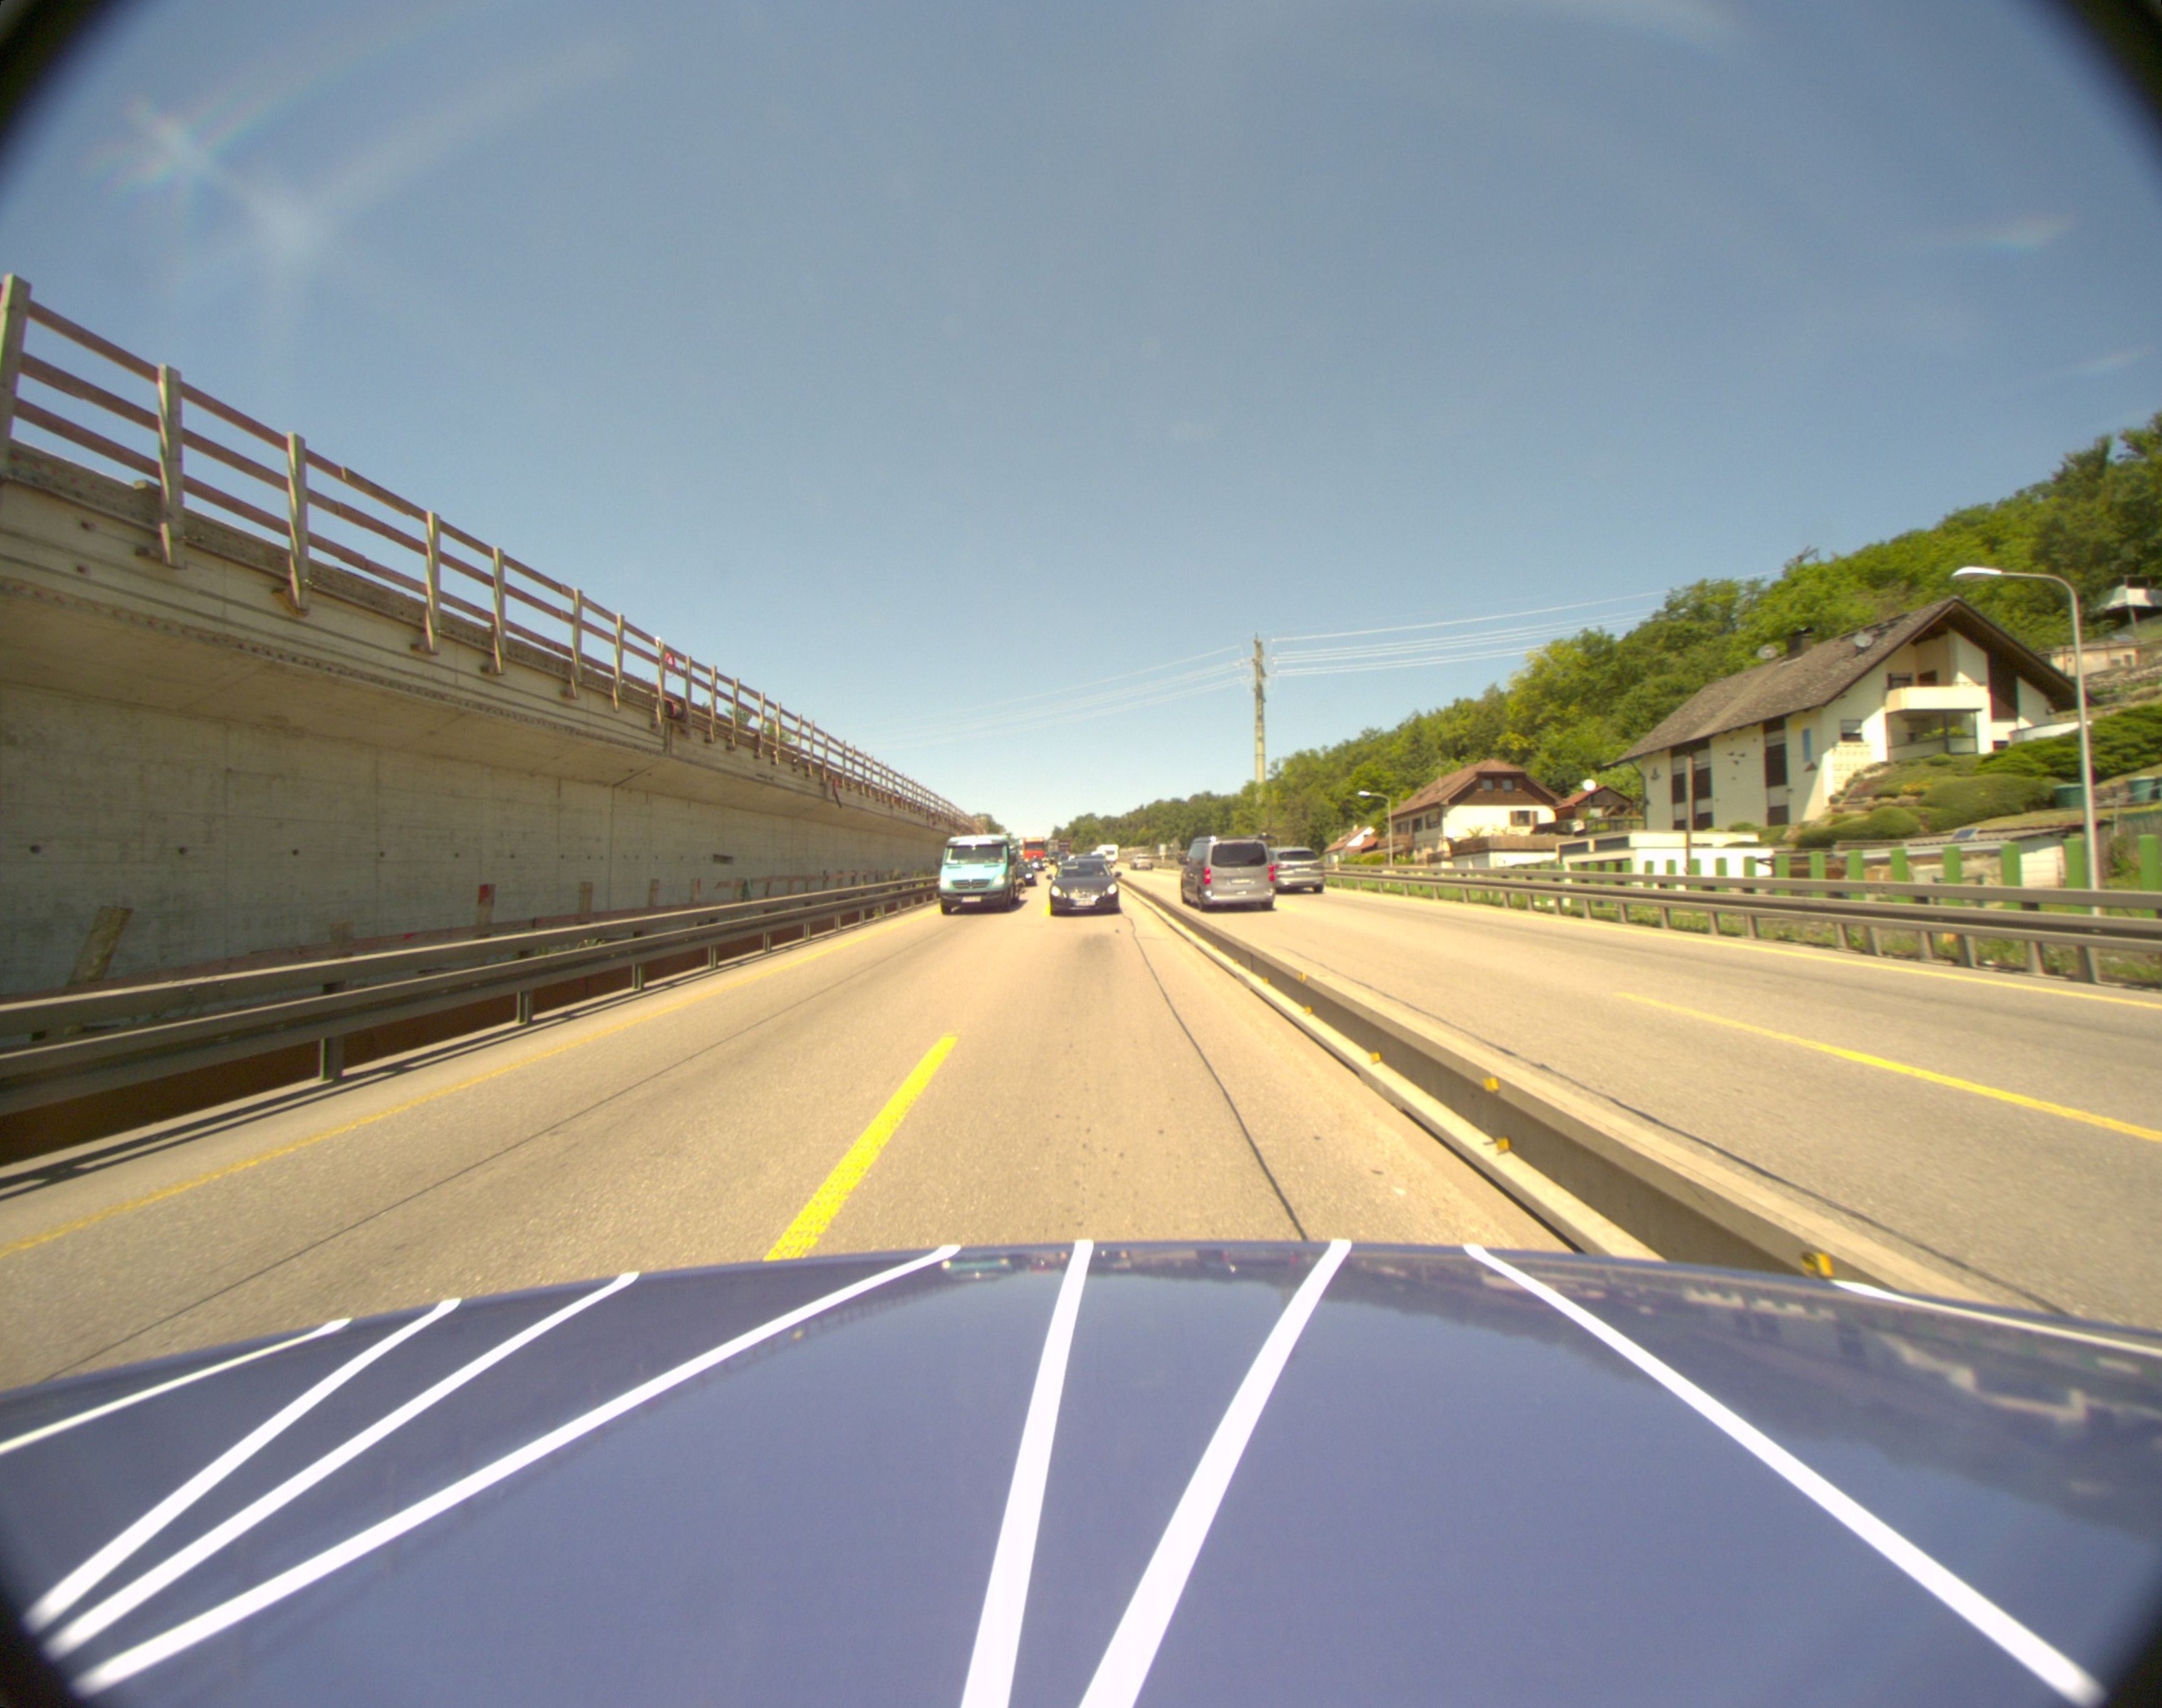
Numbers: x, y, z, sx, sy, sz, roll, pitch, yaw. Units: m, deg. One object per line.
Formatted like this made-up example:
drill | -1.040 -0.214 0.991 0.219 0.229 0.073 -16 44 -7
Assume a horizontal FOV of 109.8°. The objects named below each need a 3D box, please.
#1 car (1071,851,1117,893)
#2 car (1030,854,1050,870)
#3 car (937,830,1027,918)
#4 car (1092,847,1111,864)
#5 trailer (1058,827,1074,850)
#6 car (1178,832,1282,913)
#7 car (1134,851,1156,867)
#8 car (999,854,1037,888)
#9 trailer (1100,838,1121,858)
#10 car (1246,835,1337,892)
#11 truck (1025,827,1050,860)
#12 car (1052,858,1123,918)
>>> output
car | 0.533 0.764 33.980 1.859 1.650 3.999 -3 1 -1
car | -4.202 0.819 78.397 1.674 1.499 3.648 -3 1 1
car | -2.979 0.548 24.534 1.968 2.367 7.209 -1 0 -1
car | 2.139 0.157 81.207 1.814 1.730 4.256 -1 0 -1
trailer | -3.474 -3.390 170.920 3.130 4.687 12.074 -3 1 -2
car | 3.980 0.428 21.198 1.998 2.002 4.968 0 1 1
car | 6.224 0.429 73.902 1.706 1.471 3.974 -1 0 -1
car | -3.457 0.905 42.333 1.860 1.650 3.999 -3 1 -2
trailer | 4.053 -0.877 105.116 2.606 2.573 6.240 -2 1 -1
car | 7.464 0.296 27.388 1.998 1.816 4.508 -2 1 0
truck | -5.505 -1.331 98.062 2.651 3.978 11.193 -3 1 -1
car | 0.107 0.861 21.261 1.793 1.440 4.296 -1 0 -2
